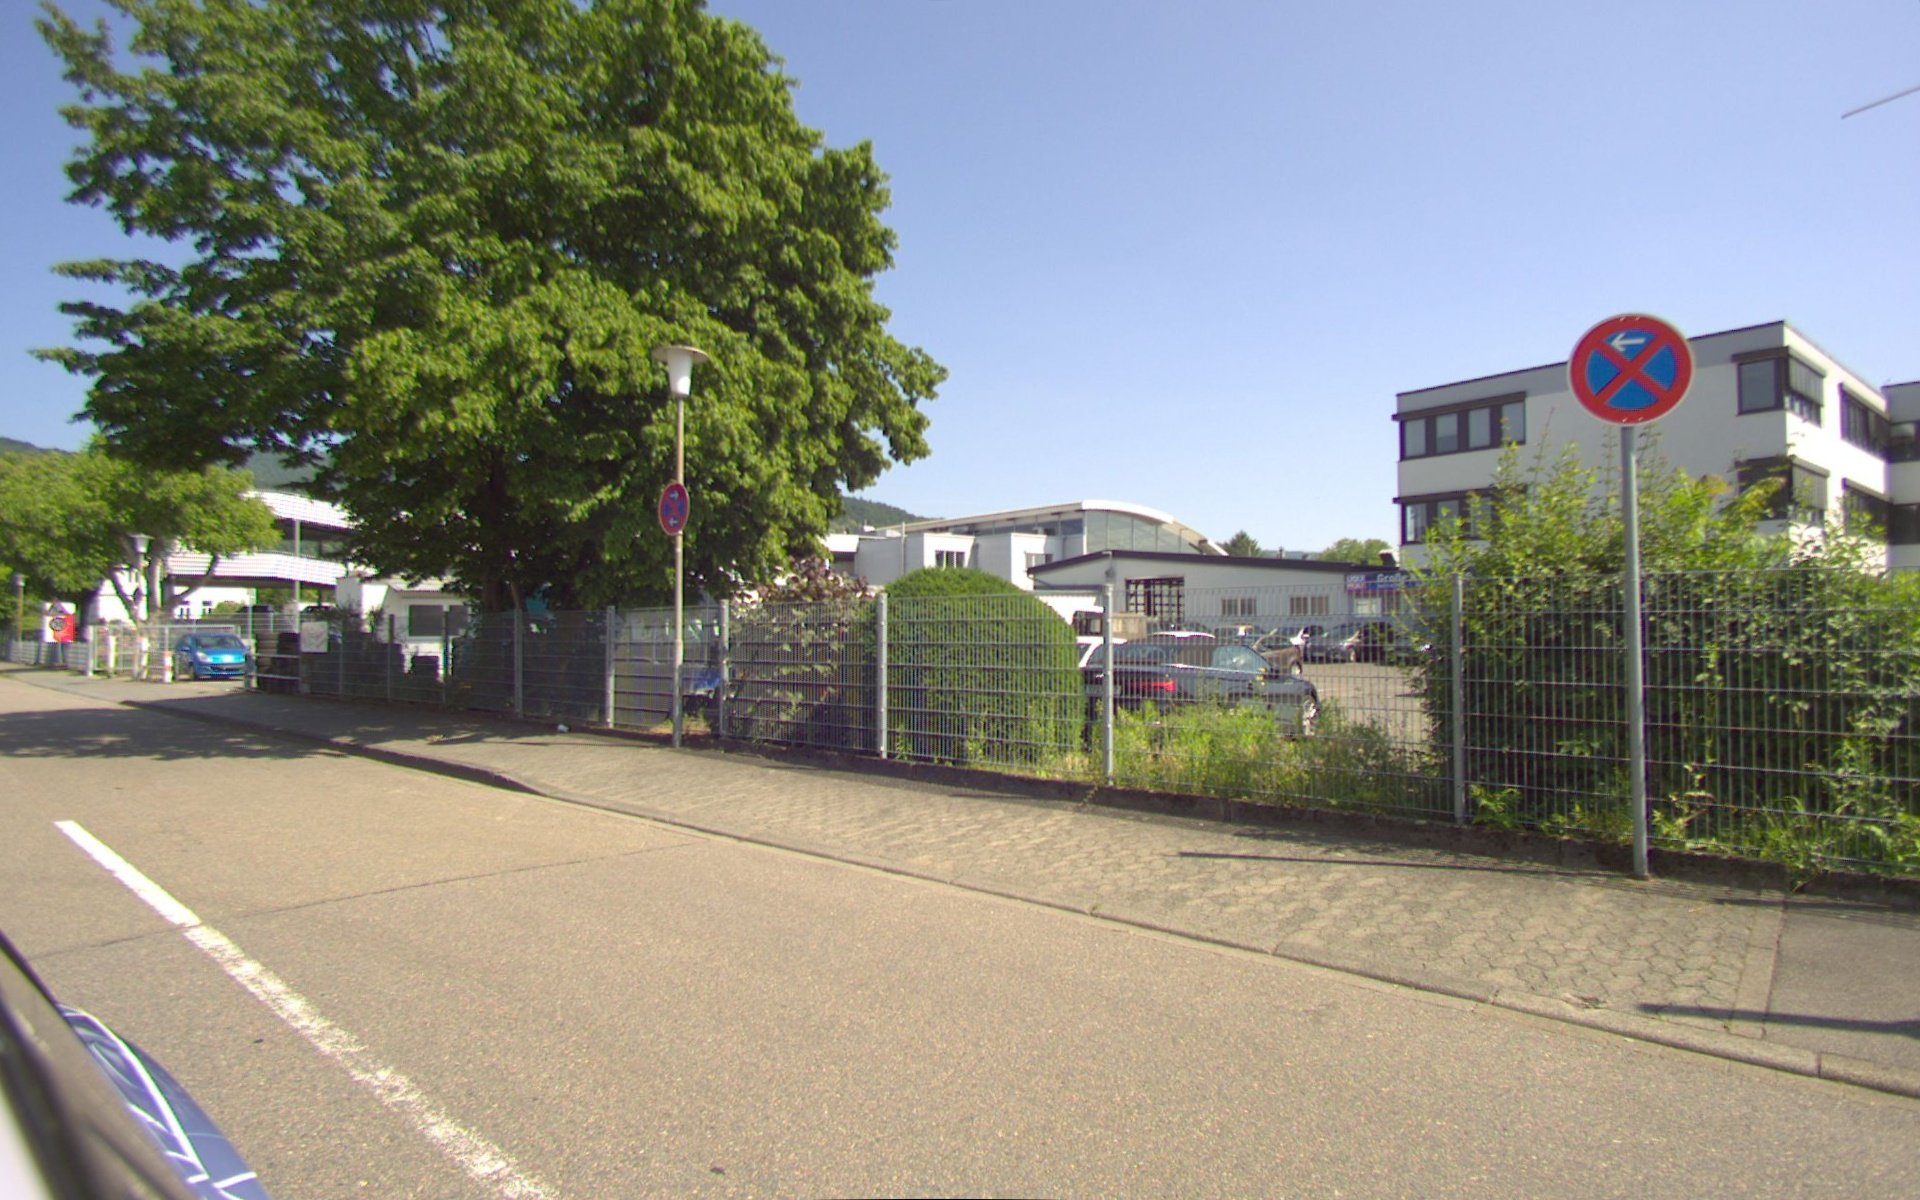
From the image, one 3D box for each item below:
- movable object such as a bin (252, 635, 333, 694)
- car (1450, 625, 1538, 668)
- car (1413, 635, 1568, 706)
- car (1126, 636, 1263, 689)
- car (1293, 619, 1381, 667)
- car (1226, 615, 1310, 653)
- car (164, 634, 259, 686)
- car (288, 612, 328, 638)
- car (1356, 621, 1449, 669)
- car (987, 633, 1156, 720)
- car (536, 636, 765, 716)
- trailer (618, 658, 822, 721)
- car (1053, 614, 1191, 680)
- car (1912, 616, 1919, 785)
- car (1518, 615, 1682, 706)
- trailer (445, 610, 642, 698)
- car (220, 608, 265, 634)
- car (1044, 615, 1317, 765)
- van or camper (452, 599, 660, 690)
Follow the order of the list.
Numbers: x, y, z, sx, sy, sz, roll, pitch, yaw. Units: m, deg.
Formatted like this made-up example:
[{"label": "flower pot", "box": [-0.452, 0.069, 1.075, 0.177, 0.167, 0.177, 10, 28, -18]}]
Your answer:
[{"label": "movable object such as a bin", "box": [-16.897, 1.589, 25.596, 1.364, 1.368, 2.105, -1, 0, -43]}, {"label": "car", "box": [18.868, 1.646, 35.736, 3.079, 1.437, 1.425, 2, -3, -34]}, {"label": "car", "box": [12.798, 1.633, 24.343, 3.976, 1.569, 1.931, 2, -3, -40]}, {"label": "car", "box": [7.468, 1.944, 32.094, 4.355, 1.569, 1.995, 2, -3, -40]}, {"label": "car", "box": [14.972, 1.656, 40.077, 1.891, 1.696, 3.944, -2, 0, 43]}, {"label": "car", "box": [13.135, 1.423, 43.064, 3.524, 1.433, 1.713, -1, 0, -39]}, {"label": "car", "box": [-23.282, 1.823, 31.445, 3.523, 1.469, 1.624, -2, 0, 40]}, {"label": "car", "box": [-39.379, 1.486, 61.164, 1.680, 1.469, 3.536, -1, 0, -27]}, {"label": "car", "box": [16.762, 1.679, 38.257, 2.000, 1.697, 3.943, -2, -3, 43]}, {"label": "car", "box": [2.126, 1.371, 18.926, 1.653, 1.484, 3.036, -2, -3, 43]}, {"label": "car", "box": [-5.954, 1.411, 19.733, 1.861, 1.397, 3.870, -2, -3, 45]}, {"label": "trailer", "box": [-4.266, 1.559, 18.254, 1.612, 0.946, 3.246, -2, -3, 43]}, {"label": "car", "box": [5.429, 1.549, 33.659, 4.507, 2.029, 2.061, 2, -3, -40]}, {"label": "car", "box": [8.129, 0.811, 7.263, 1.712, 1.444, 3.900, -1, -3, 41]}, {"label": "car", "box": [14.307, 1.297, 22.552, 3.976, 1.837, 1.931, 2, -3, -40]}, {"label": "trailer", "box": [-11.610, 1.430, 28.462, 1.999, 2.171, 4.719, -2, 0, 42]}, {"label": "car", "box": [-41.987, 1.275, 59.271, 1.680, 1.469, 3.536, 1, -3, -27]}, {"label": "car", "box": [2.858, 1.020, 12.572, 1.854, 1.553, 3.786, -2, -3, 38]}, {"label": "van or camper", "box": [-9.306, 0.958, 23.542, 1.774, 1.877, 4.137, -2, 0, 43]}]
